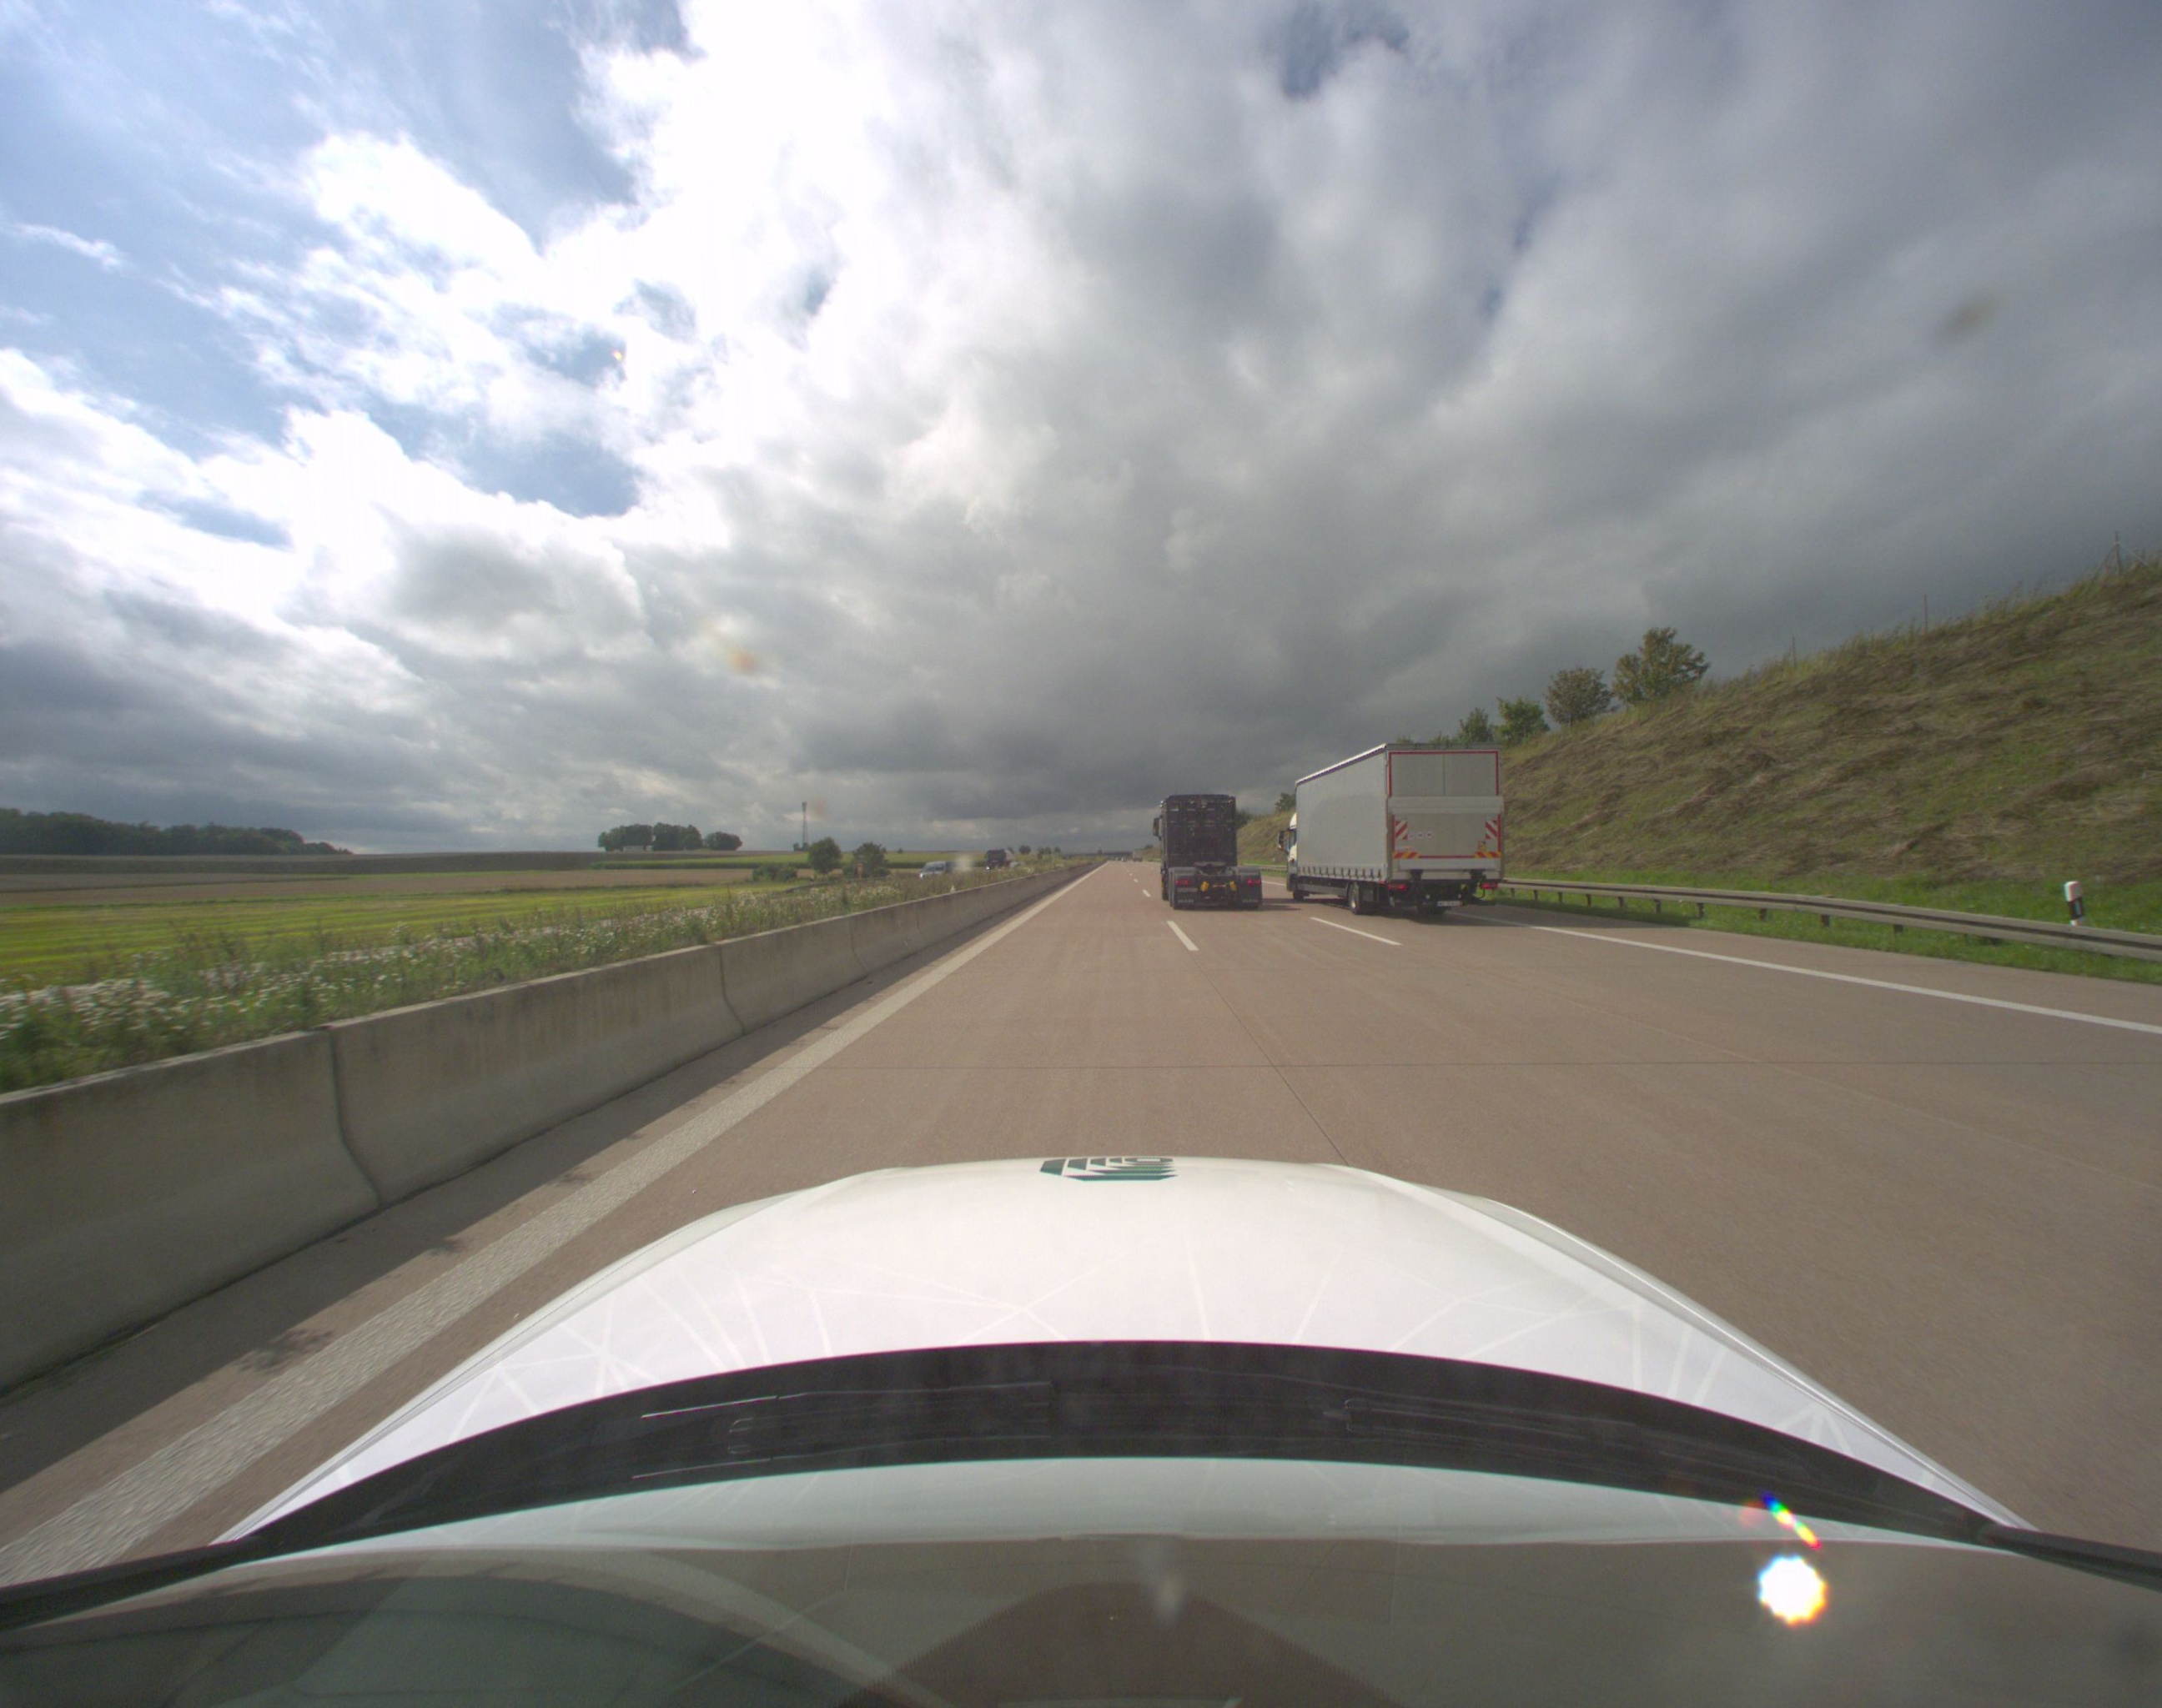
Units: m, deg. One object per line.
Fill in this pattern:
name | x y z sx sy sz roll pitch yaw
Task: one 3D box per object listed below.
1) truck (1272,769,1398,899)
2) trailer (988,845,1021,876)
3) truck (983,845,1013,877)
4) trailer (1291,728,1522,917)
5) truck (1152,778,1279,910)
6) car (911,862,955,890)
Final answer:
truck | 8.140 -0.598 26.707 2.739 3.892 4.546 0 0 0
trailer | -10.921 0.887 117.662 2.879 4.098 11.046 -3 0 3
truck | -11.269 0.878 111.513 2.879 4.098 6.340 -4 0 3
trailer | 8.065 -0.637 21.720 2.738 4.012 8.670 0 -1 1
truck | 4.013 -0.237 26.275 2.837 3.550 8.320 0 -1 1
car | -10.010 1.434 55.295 1.986 1.699 4.258 -3 0 2
